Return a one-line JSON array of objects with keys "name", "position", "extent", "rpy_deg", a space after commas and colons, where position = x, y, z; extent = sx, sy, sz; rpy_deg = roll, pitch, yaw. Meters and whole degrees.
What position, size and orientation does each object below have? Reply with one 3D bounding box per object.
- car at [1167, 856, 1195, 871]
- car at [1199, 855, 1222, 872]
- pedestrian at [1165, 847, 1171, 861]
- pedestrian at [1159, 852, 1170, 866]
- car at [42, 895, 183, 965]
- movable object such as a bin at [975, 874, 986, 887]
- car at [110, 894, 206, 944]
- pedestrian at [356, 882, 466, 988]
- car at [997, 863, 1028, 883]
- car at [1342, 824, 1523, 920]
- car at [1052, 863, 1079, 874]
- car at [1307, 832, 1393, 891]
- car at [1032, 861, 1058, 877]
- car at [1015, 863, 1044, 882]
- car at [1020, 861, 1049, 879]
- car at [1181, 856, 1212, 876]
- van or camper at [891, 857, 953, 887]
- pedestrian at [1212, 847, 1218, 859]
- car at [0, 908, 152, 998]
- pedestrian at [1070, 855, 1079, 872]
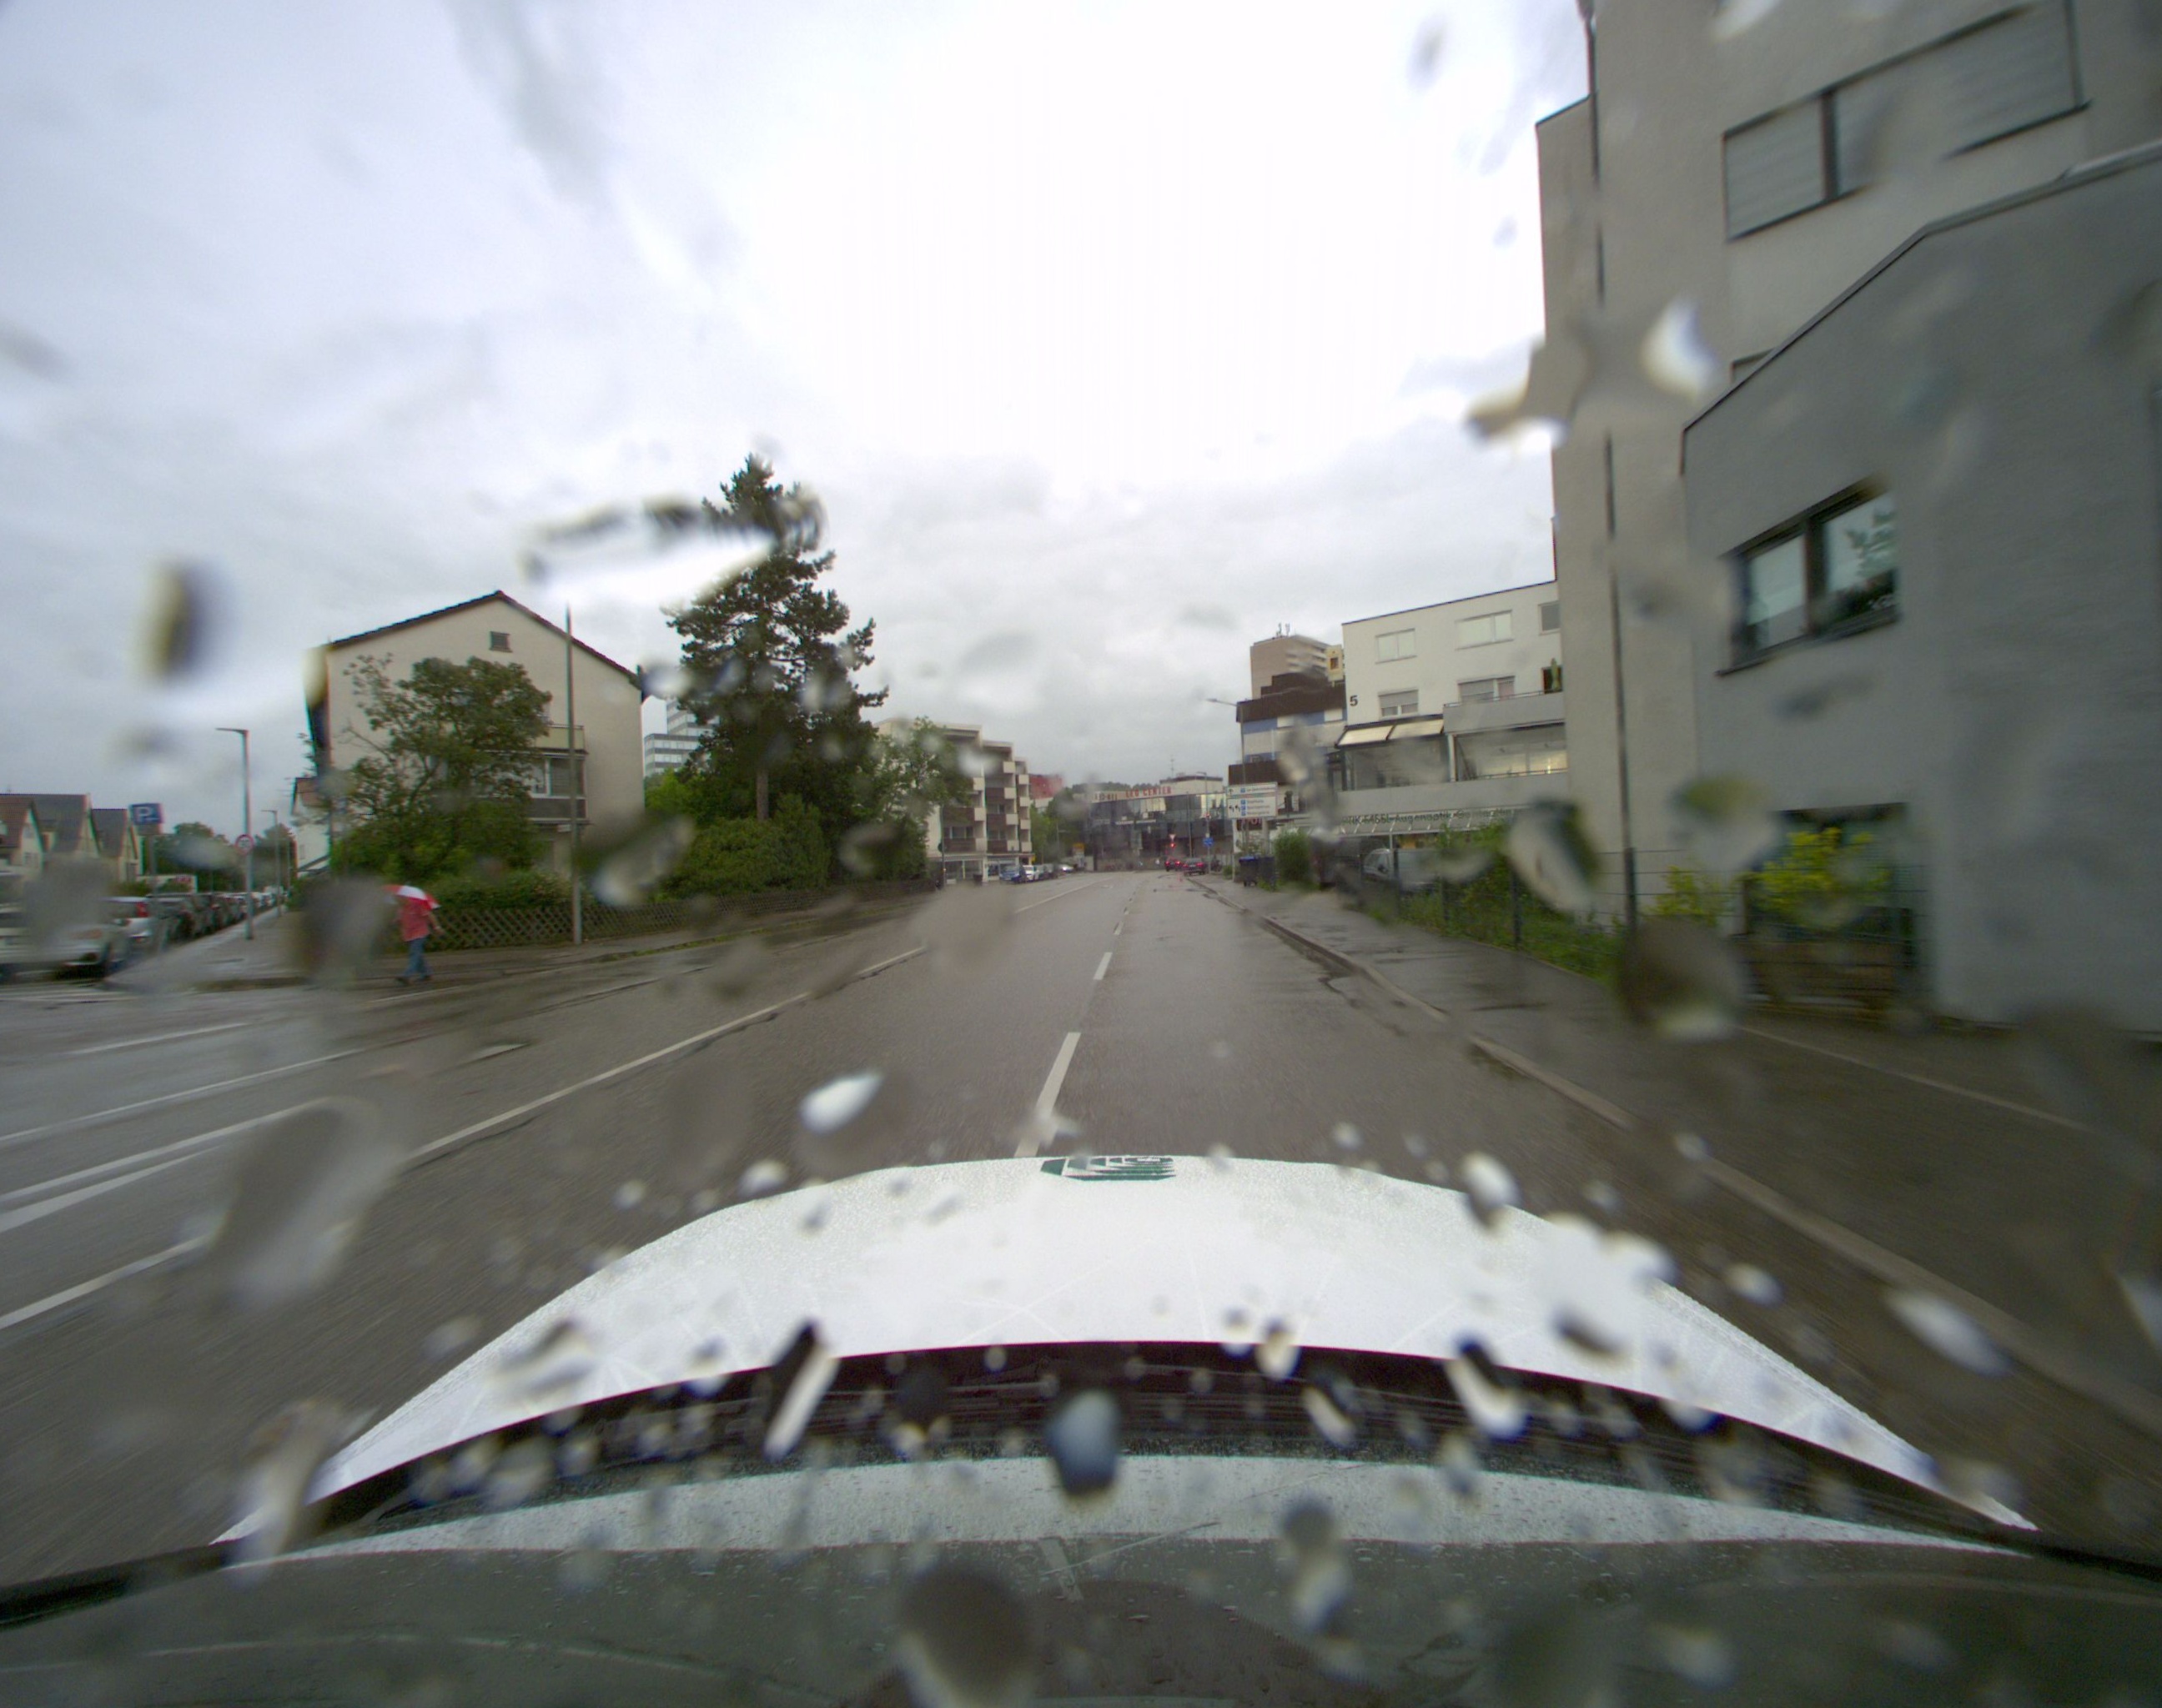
[{"name": "car", "position": [10.922, 1.016, 88.741], "extent": [1.788, 1.419, 4.023], "rpy_deg": [-3, -1, 24]}, {"name": "car", "position": [12.758, 0.885, 80.274], "extent": [1.685, 1.486, 4.016], "rpy_deg": [-6, -1, 15]}, {"name": "pedestrian", "position": [10.272, -0.045, 96.589], "extent": [0.607, 1.659, 0.673], "rpy_deg": [1, 1, 2]}, {"name": "pedestrian", "position": [9.815, 0.586, 95.766], "extent": [0.912, 1.659, 0.750], "rpy_deg": [1, 1, -21]}, {"name": "car", "position": [-24.348, 1.838, 20.610], "extent": [1.797, 1.446, 3.775], "rpy_deg": [-2, 0, -43]}, {"name": "movable object such as a bin", "position": [-7.716, 2.011, 62.399], "extent": [0.644, 0.966, 0.684], "rpy_deg": [-3, -1, 6]}, {"name": "car", "position": [-31.726, 2.188, 28.096], "extent": [1.797, 1.446, 3.775], "rpy_deg": [-2, 0, -43]}, {"name": "pedestrian", "position": [-10.933, 1.289, 13.342], "extent": [0.867, 1.607, 1.102], "rpy_deg": [-2, -1, -3]}, {"name": "car", "position": [-5.512, 1.508, 66.140], "extent": [1.643, 1.521, 4.332], "rpy_deg": [-2, 0, 7]}, {"name": "car", "position": [7.635, 0.359, 18.310], "extent": [1.987, 1.785, 4.690], "rpy_deg": [-3, 0, 0]}, {"name": "car", "position": [-2.324, 2.087, 118.482], "extent": [2.006, 1.512, 4.390], "rpy_deg": [1, 1, -31]}, {"name": "car", "position": [10.238, 0.223, 30.749], "extent": [1.974, 2.013, 4.810], "rpy_deg": [-3, 0, 31]}, {"name": "car", "position": [-3.601, 1.496, 82.929], "extent": [1.924, 1.542, 4.281], "rpy_deg": [-2, 0, 7]}, {"name": "car", "position": [-4.495, 1.600, 72.082], "extent": [1.684, 1.464, 4.693], "rpy_deg": [-2, 0, 7]}, {"name": "car", "position": [-4.365, 1.521, 77.211], "extent": [1.924, 1.542, 4.530], "rpy_deg": [-2, 0, 7]}, {"name": "car", "position": [9.868, 1.043, 69.264], "extent": [1.978, 1.534, 4.666], "rpy_deg": [-2, -2, 16]}, {"name": "van or camper", "position": [-11.061, 1.231, 56.286], "extent": [2.010, 1.924, 5.158], "rpy_deg": [-3, 1, -38]}, {"name": "pedestrian", "position": [22.498, -0.141, 136.809], "extent": [0.781, 2.014, 0.673], "rpy_deg": [-3, -1, 17]}, {"name": "car", "position": [-20.436, 1.908, 16.416], "extent": [1.797, 1.446, 3.953], "rpy_deg": [-2, 0, -43]}, {"name": "pedestrian", "position": [-0.785, 1.164, 98.614], "extent": [0.741, 2.013, 0.927], "rpy_deg": [1, 0, 27]}]
